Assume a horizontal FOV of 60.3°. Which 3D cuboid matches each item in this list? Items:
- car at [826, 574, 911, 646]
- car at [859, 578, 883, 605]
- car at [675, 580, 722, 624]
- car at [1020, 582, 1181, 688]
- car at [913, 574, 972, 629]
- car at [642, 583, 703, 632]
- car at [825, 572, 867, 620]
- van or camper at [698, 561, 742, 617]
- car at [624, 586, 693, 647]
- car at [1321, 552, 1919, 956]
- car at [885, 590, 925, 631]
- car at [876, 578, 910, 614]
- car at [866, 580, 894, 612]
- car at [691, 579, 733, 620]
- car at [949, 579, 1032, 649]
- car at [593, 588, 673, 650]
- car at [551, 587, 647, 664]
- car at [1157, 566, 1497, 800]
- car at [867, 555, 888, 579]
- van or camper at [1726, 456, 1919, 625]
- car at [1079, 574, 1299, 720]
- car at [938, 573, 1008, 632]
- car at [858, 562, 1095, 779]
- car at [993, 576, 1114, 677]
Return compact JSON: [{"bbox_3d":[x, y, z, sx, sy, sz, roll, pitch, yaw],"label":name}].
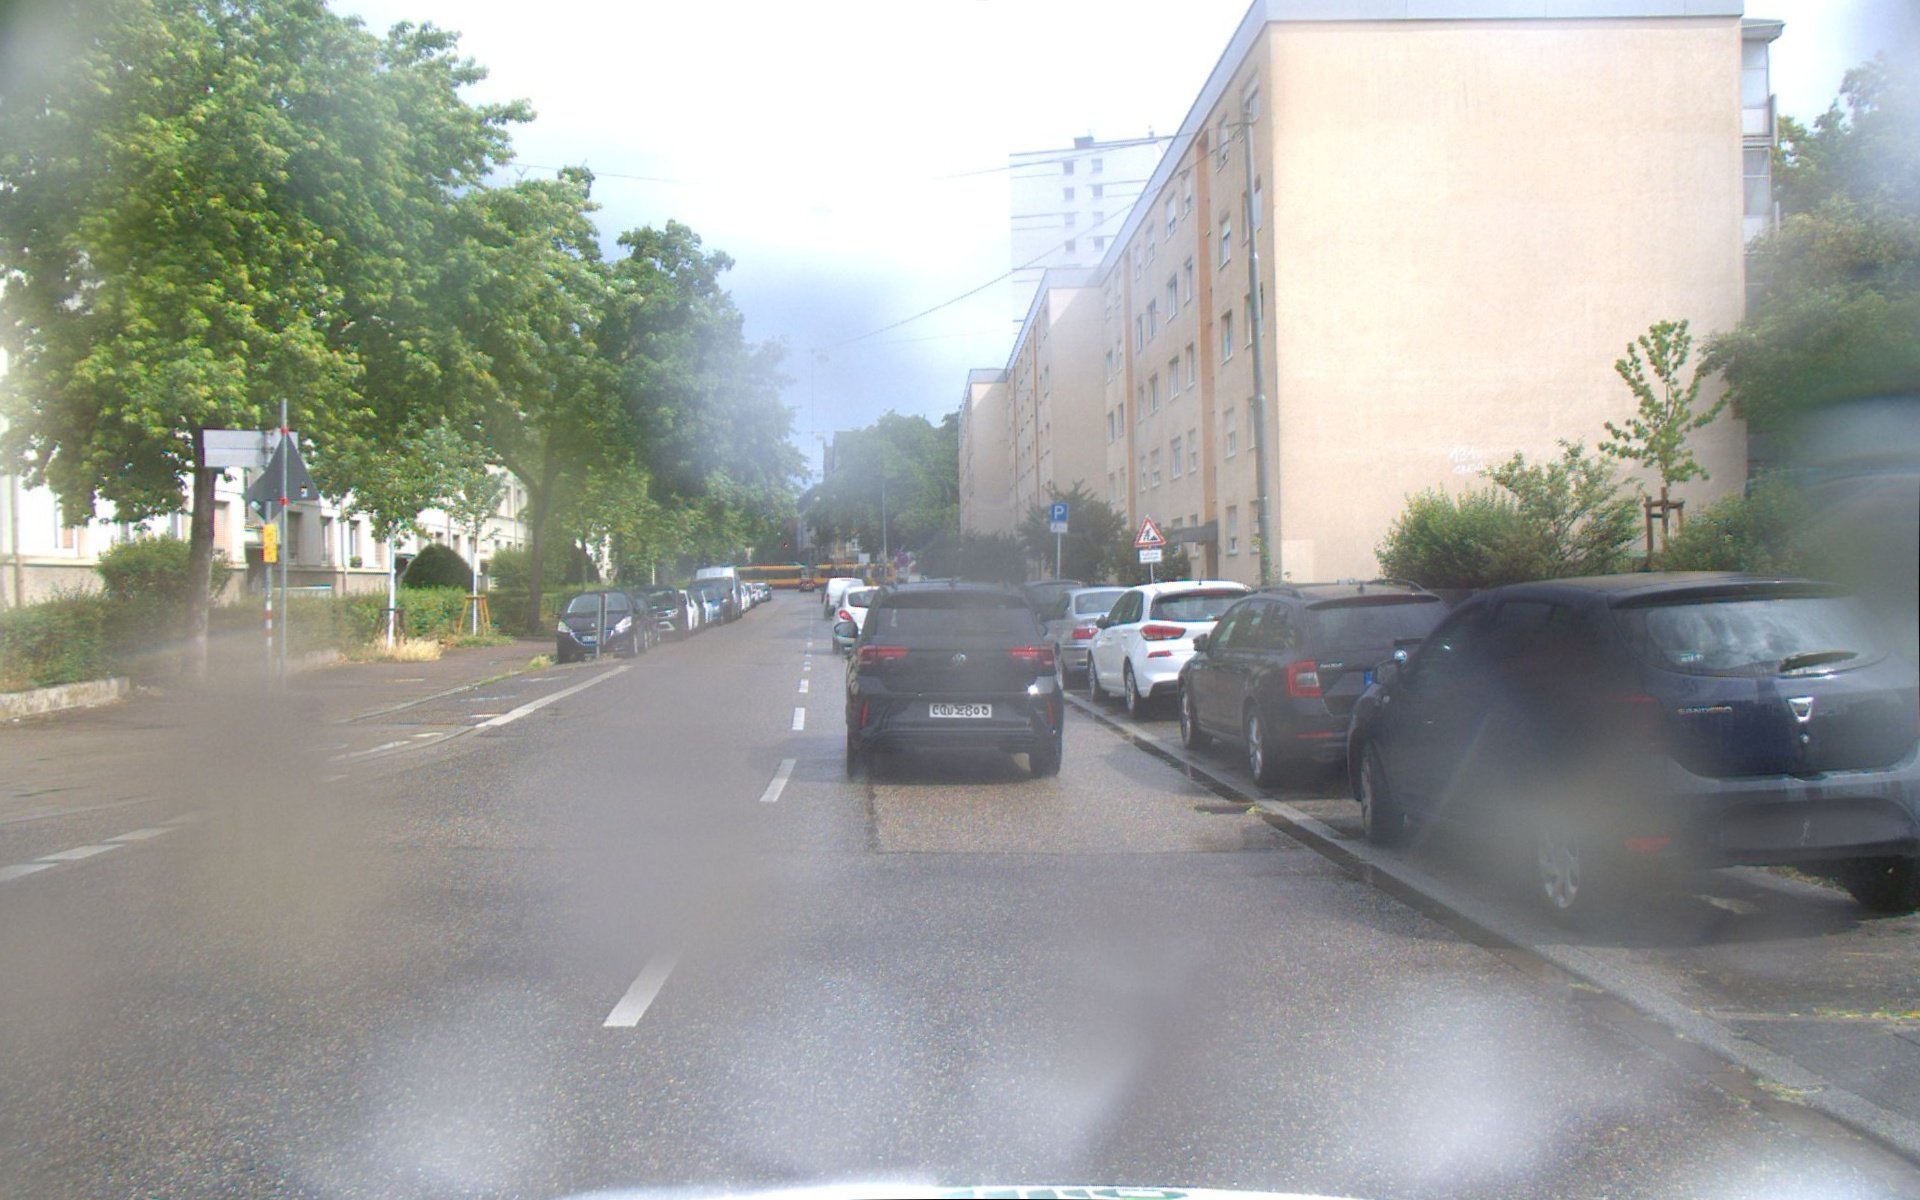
[{"bbox_3d":[-2.014,0.232,37.411,1.776,1.529,3.999,1,0,-1],"label":"car"},{"bbox_3d":[-6.453,-0.643,120.157,1.633,1.869,3.997,-2,1,-4],"label":"car"},{"bbox_3d":[-10.503,0.056,66.653,1.555,1.668,3.915,-3,1,-6],"label":"car"},{"bbox_3d":[2.045,0.465,25.250,1.683,1.478,4.254,0,0,-6],"label":"car"},{"bbox_3d":[-0.601,0.028,54.840,1.573,1.701,4.028,-3,1,-5],"label":"car"},{"bbox_3d":[-9.047,0.211,52.300,1.555,1.442,3.915,-3,1,-6],"label":"car"},{"bbox_3d":[-5.211,-0.154,75.877,1.799,2.139,3.998,1,0,-3],"label":"car"},{"bbox_3d":[-11.490,-0.544,79.394,1.768,2.537,5.014,-3,1,-6],"label":"van or camper"},{"bbox_3d":[-8.576,0.438,47.218,1.555,1.603,4.009,-3,1,-6],"label":"car"},{"bbox_3d":[3.334,0.601,8.674,1.722,1.554,3.997,-3,0,-4],"label":"car"},{"bbox_3d":[-2.605,0.487,77.925,1.573,1.796,4.028,-3,1,-5],"label":"car"},{"bbox_3d":[-3.587,-0.214,87.924,1.573,1.796,4.028,-3,1,-5],"label":"car"},{"bbox_3d":[-4.917,-0.262,101.229,1.633,1.869,3.997,-2,1,-4],"label":"car"},{"bbox_3d":[-10.836,-0.024,72.309,1.555,1.668,3.915,-3,1,-6],"label":"car"},{"bbox_3d":[0.712,0.317,40.978,1.662,1.565,4.029,-3,1,-4],"label":"car"},{"bbox_3d":[-8.353,0.453,42.500,1.555,1.442,4.048,-3,1,-6],"label":"car"},{"bbox_3d":[-7.897,0.515,36.487,1.555,1.532,4.060,-3,1,-6],"label":"car"},{"bbox_3d":[2.830,0.576,13.679,1.573,1.534,4.157,-4,0,-4],"label":"car"},{"bbox_3d":[-6.967,-2.766,138.867,1.633,1.869,3.997,-2,1,-4],"label":"car"},{"bbox_3d":[13.397,-0.836,22.718,4.660,2.168,2.322,-1,1,2],"label":"van or camper"},{"bbox_3d":[2.621,0.497,19.872,1.715,1.534,4.107,-1,0,-5],"label":"car"},{"bbox_3d":[0.329,0.052,47.495,1.573,1.532,4.028,-3,1,-5],"label":"car"},{"bbox_3d":[0.078,0.531,14.862,1.835,1.674,4.061,0,0,-2],"label":"car"},{"bbox_3d":[1.631,0.414,30.068,1.573,1.690,4.027,0,1,-6],"label":"car"}]
